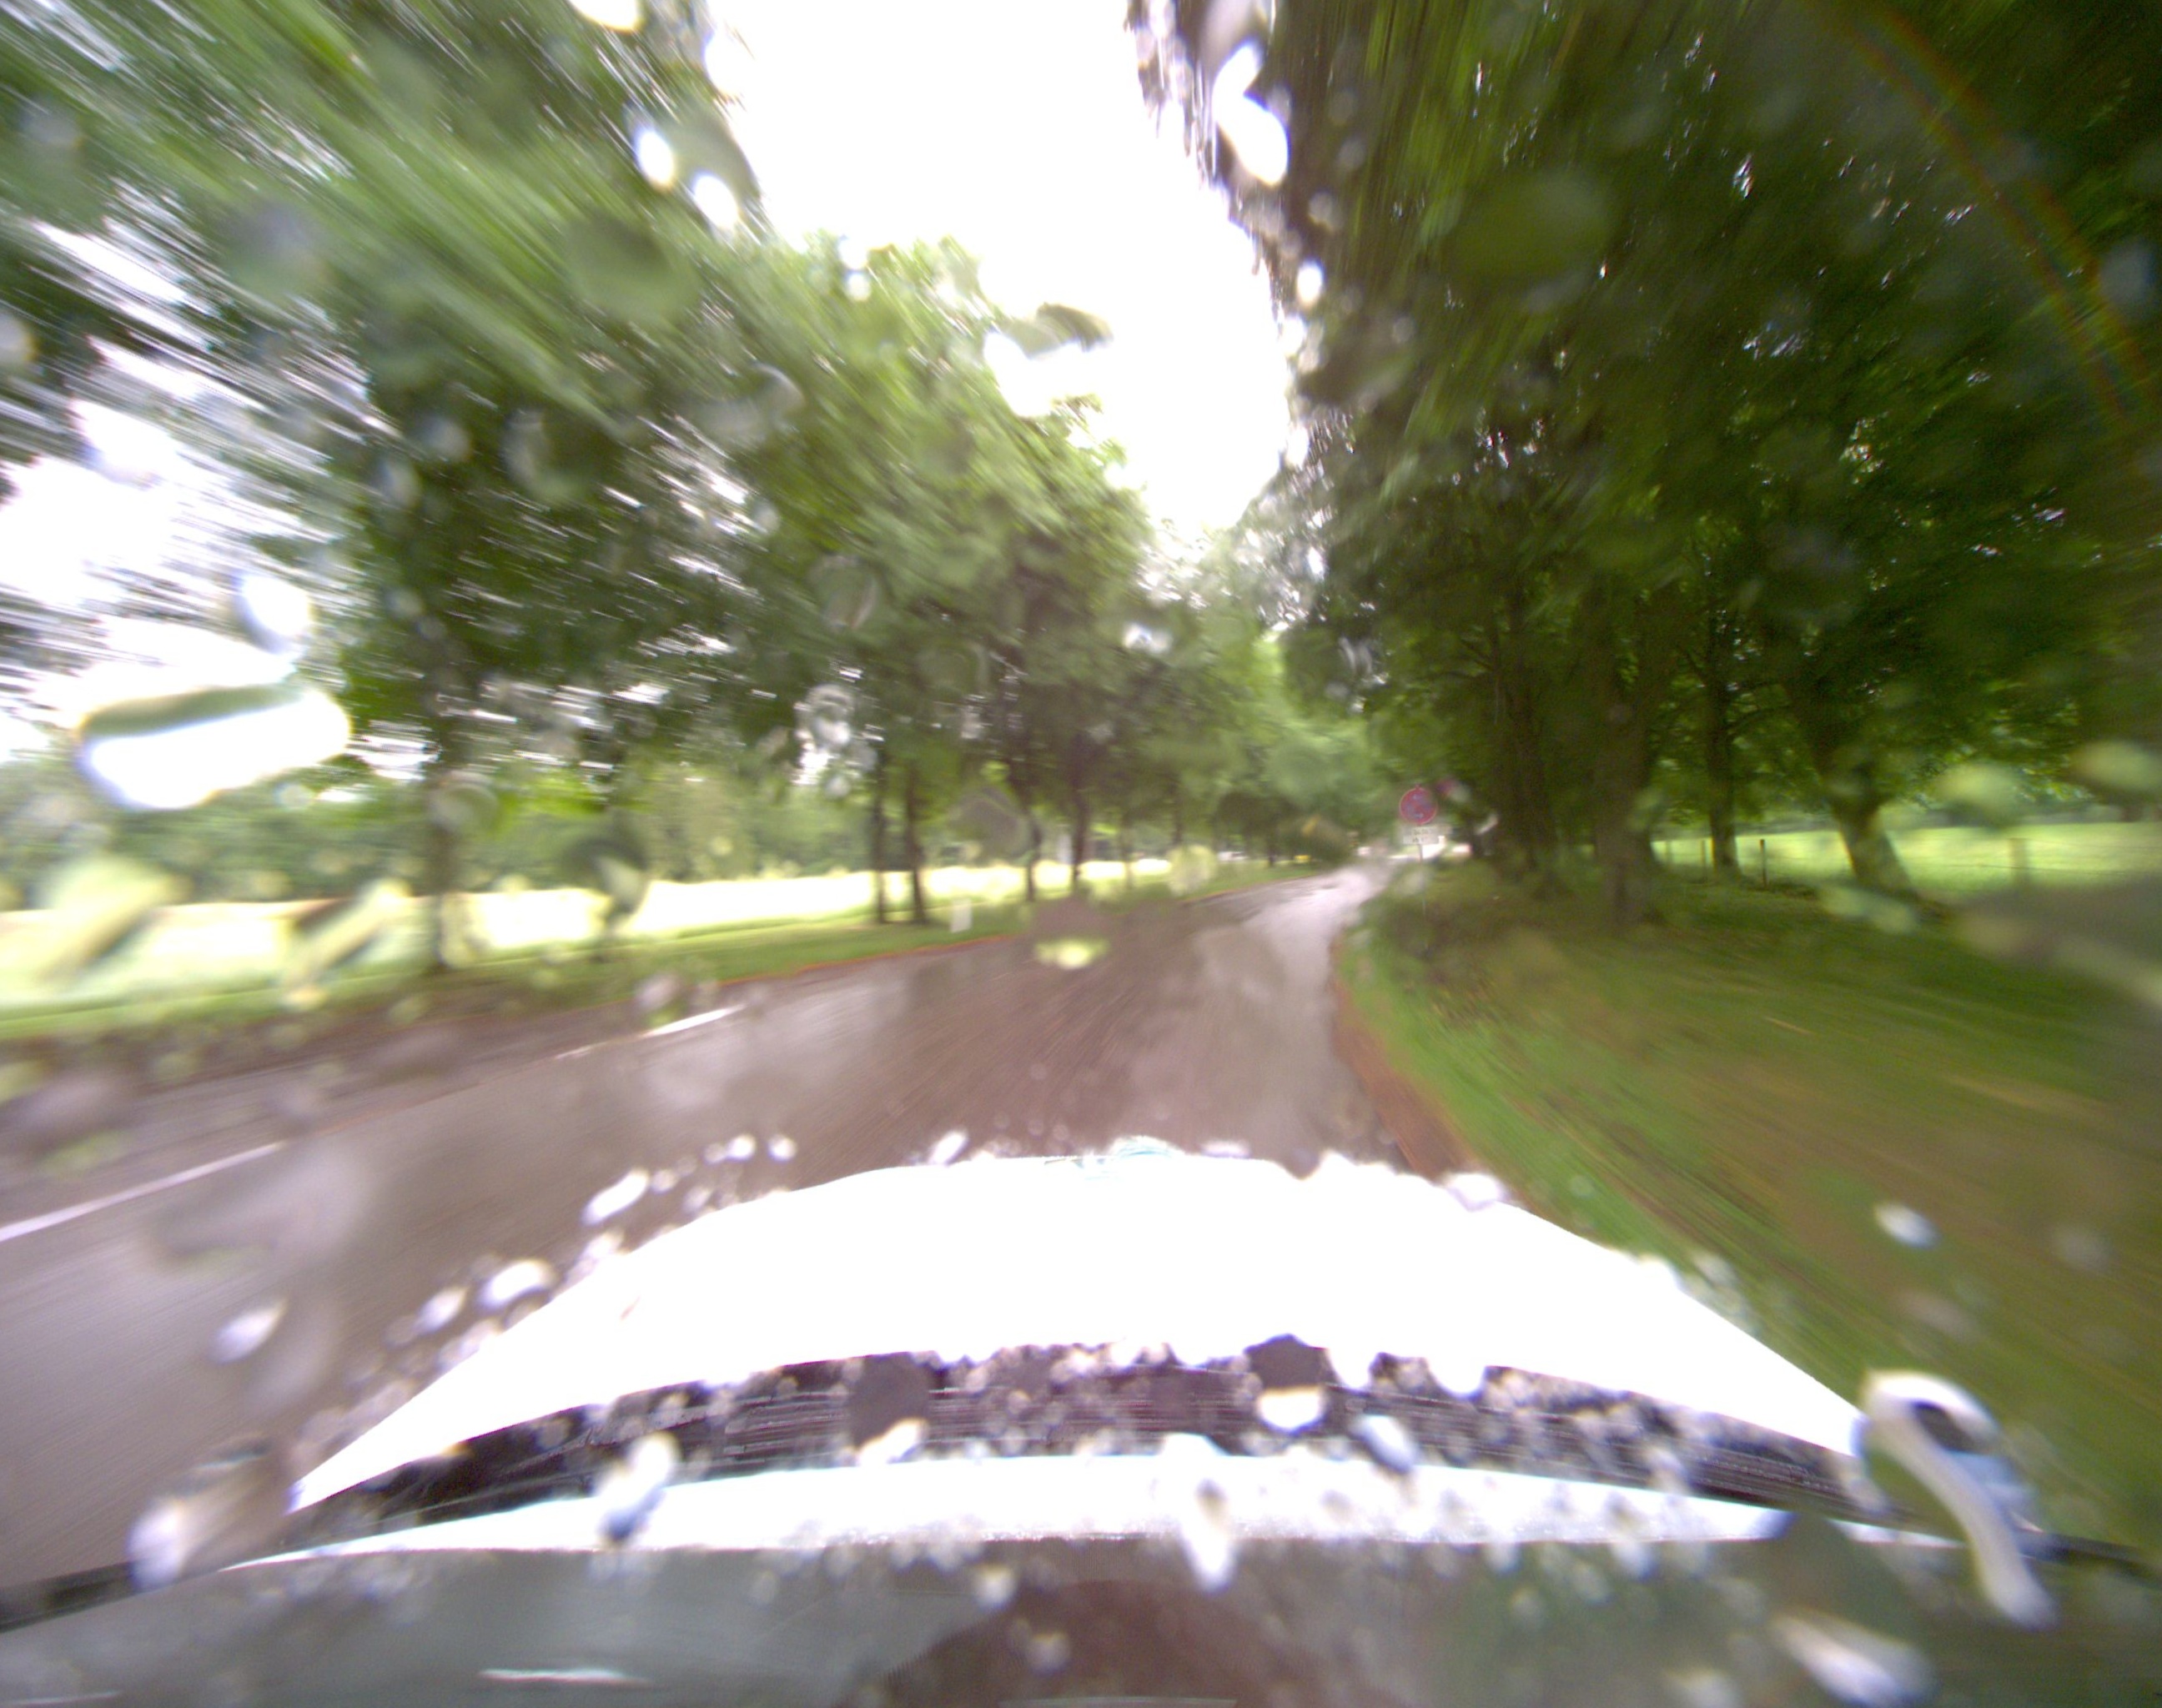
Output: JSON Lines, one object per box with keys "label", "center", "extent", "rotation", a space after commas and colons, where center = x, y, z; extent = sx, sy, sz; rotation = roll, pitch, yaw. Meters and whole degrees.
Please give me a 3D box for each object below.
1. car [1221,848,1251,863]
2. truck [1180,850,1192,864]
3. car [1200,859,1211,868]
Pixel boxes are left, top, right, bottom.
{"label": "car", "center": [27.874, 0.352, 146.994], "extent": [2.395, 2.408, 5.936], "rotation": [0, -2, -23]}
{"label": "truck", "center": [18.698, 0.557, 145.005], "extent": [1.857, 2.443, 3.359], "rotation": [-2, -1, 11]}
{"label": "car", "center": [22.187, 1.738, 145.226], "extent": [1.753, 1.429, 4.114], "rotation": [-2, -1, 7]}
